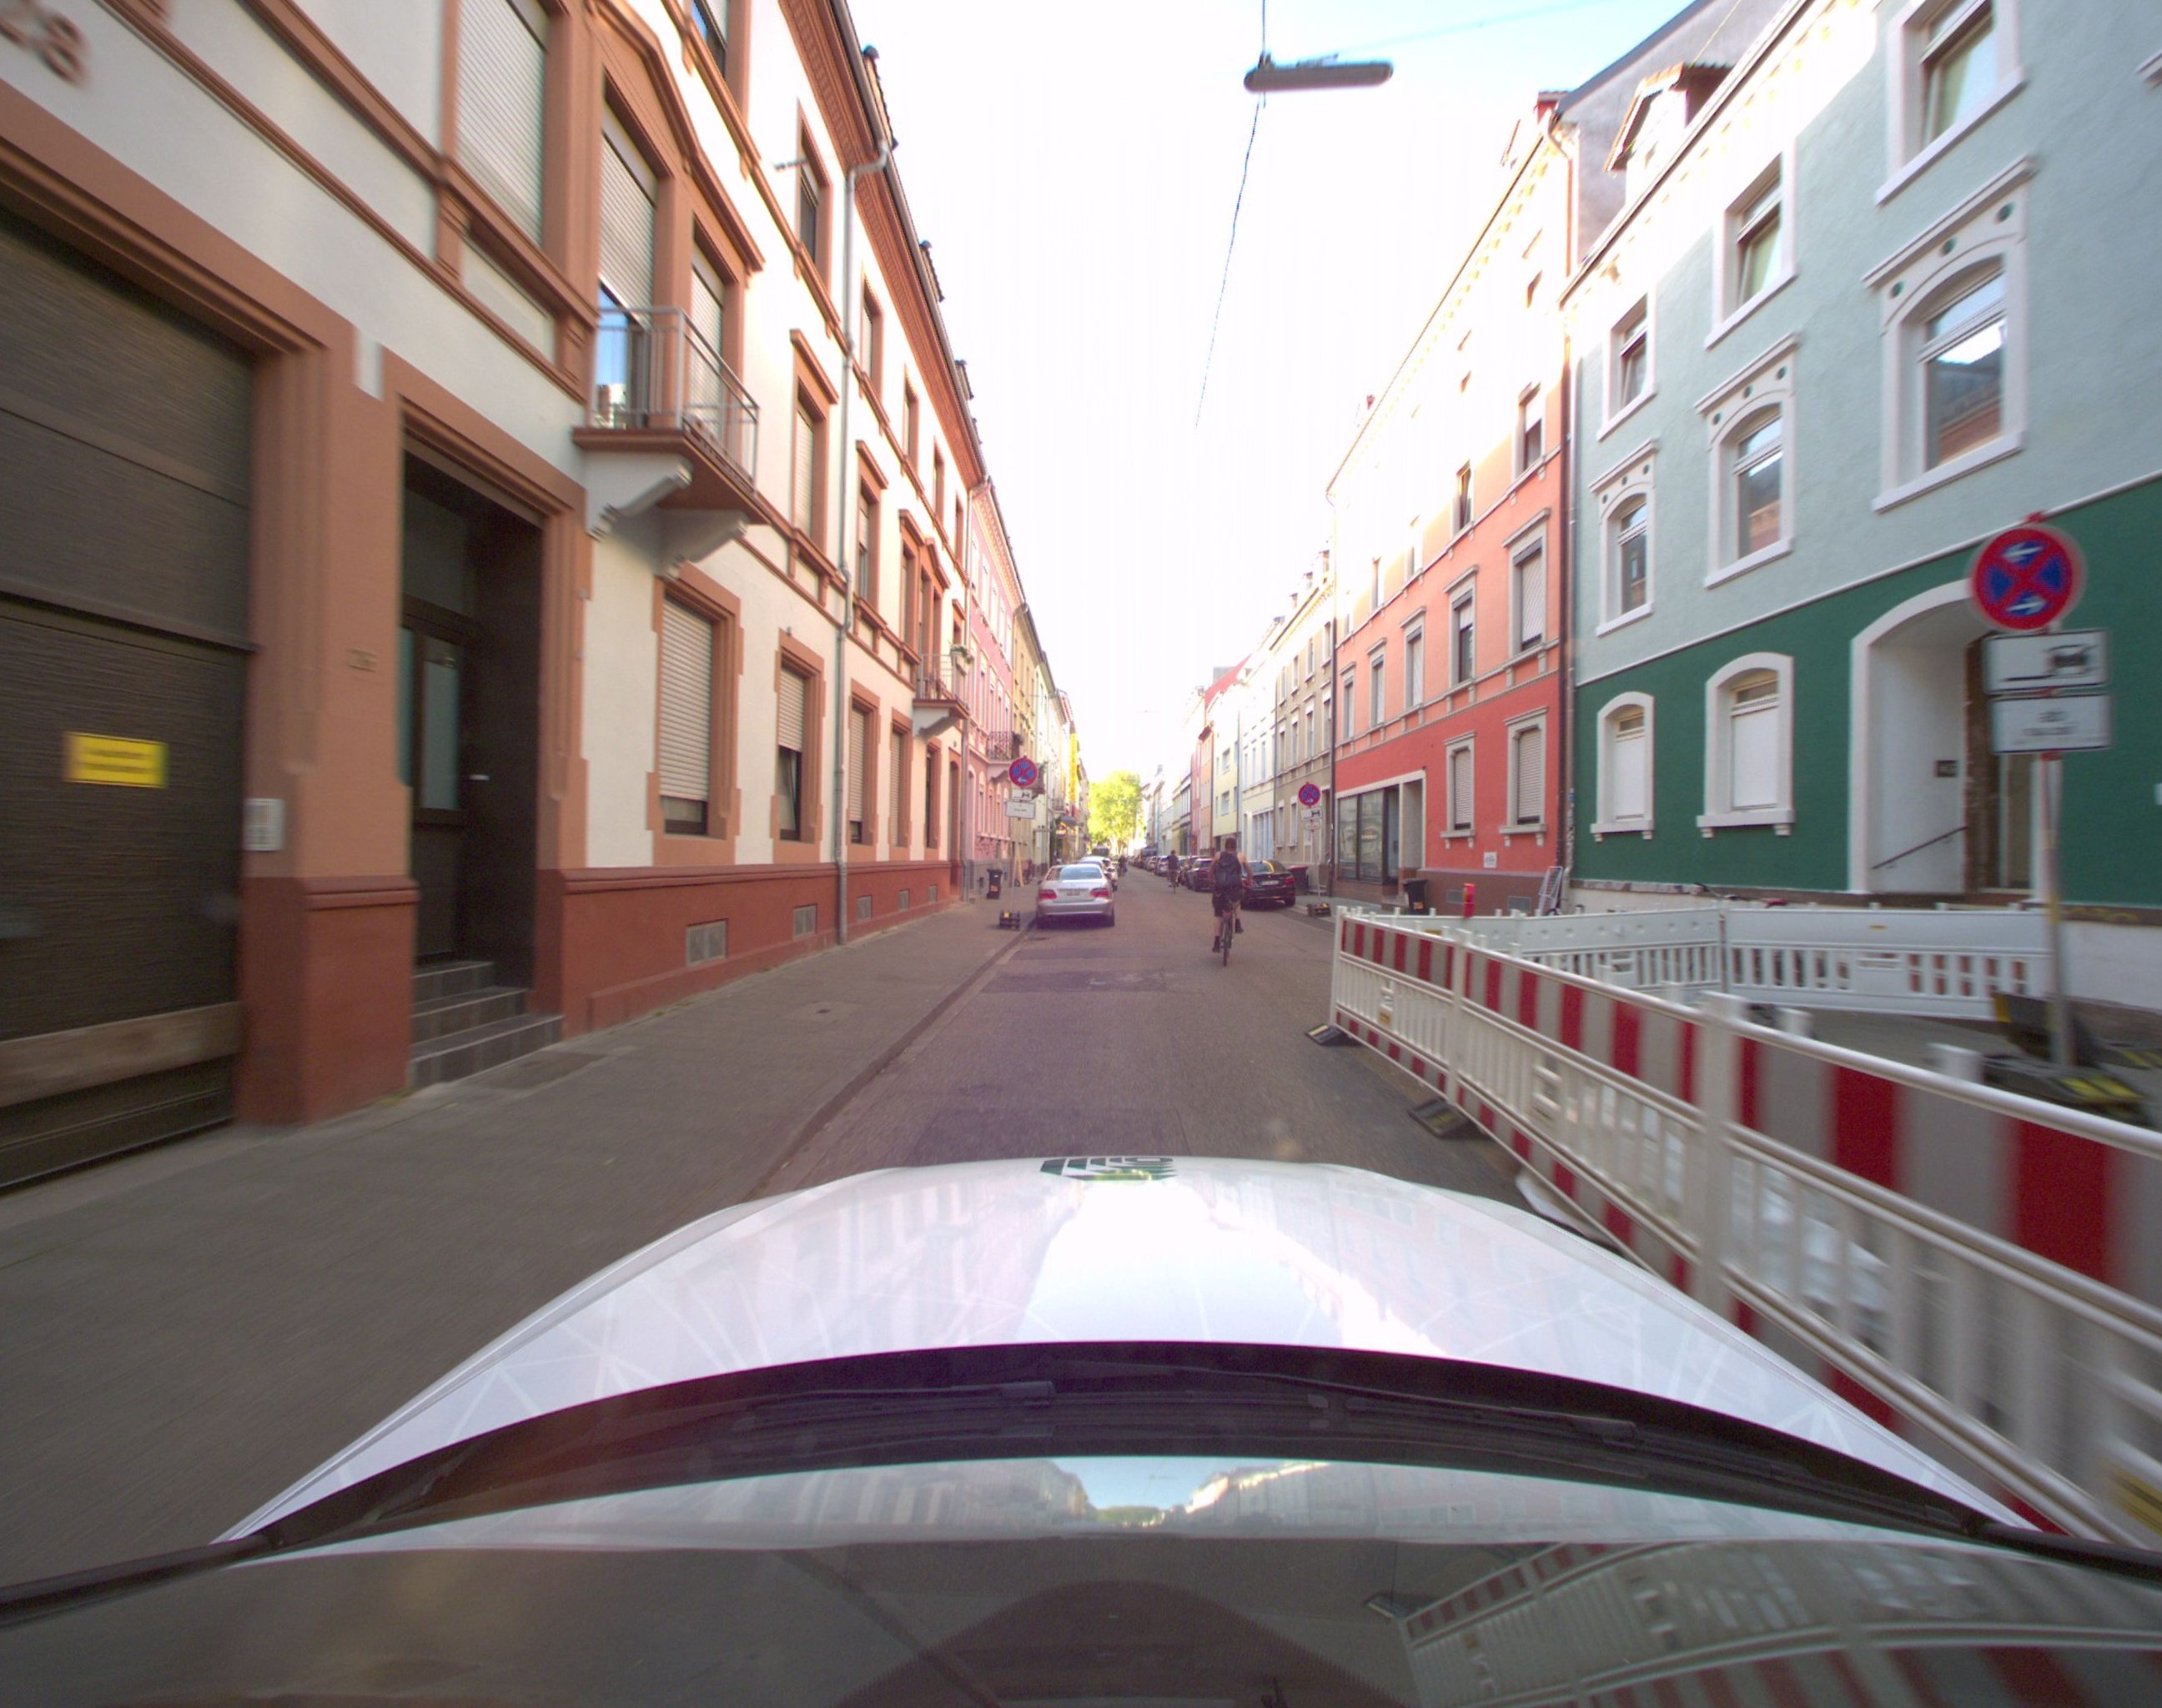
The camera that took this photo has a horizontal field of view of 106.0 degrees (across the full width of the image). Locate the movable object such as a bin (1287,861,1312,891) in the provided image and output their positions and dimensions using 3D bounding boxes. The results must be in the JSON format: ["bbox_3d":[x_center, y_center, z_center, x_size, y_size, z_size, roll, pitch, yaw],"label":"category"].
[{"bbox_3d":[8.301,0.834,31.001,0.803,1.075,0.679,-2,-1,6],"label":"movable object such as a bin"}]

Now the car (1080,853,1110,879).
[{"bbox_3d":[0.850,0.675,47.790,1.666,1.442,3.755,-1,0,2],"label":"car"}]

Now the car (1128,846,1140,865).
[{"bbox_3d":[10.891,0.327,167.932,2.299,3.768,6.772,-1,-1,2],"label":"car"}]

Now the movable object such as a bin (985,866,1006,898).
[{"bbox_3d":[-2.622,0.841,24.908,0.541,0.945,0.487,2,-1,2],"label":"movable object such as a bin"}]

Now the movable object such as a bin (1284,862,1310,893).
[{"bbox_3d":[7.928,0.860,29.909,0.735,1.075,0.676,-2,-1,-5],"label":"movable object such as a bin"}]

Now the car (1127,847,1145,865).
[{"bbox_3d":[8.073,0.356,120.582,2.299,2.538,6.772,-1,0,2],"label":"car"}]

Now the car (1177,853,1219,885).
[{"bbox_3d":[6.082,0.785,42.761,1.704,1.556,4.001,-1,0,2],"label":"car"}]

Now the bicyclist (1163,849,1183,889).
[{"bbox_3d":[3.811,0.607,33.771,0.699,1.605,0.813,1,1,1],"label":"bicyclist"}]

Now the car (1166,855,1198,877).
[{"bbox_3d":[6.530,0.759,53.104,1.704,1.383,4.001,-1,0,2],"label":"car"}]

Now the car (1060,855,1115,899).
[{"bbox_3d":[0.309,0.777,29.493,1.703,1.383,4.361,1,1,4],"label":"car"}]

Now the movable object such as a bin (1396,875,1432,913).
[{"bbox_3d":[8.084,0.965,19.770,0.595,0.906,0.579,-2,-1,0],"label":"movable object such as a bin"}]

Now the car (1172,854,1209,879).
[{"bbox_3d":[6.348,0.721,47.653,1.704,1.383,4.001,-1,0,2],"label":"car"}]

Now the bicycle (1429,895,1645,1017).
[{"bbox_3d":[4.564,1.011,8.205,1.846,1.110,0.642,2,-1,-6],"label":"bicycle"}]

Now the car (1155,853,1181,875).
[{"bbox_3d":[6.664,0.756,62.645,1.614,1.550,4.001,-1,0,2],"label":"car"}]

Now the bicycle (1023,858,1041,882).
[{"bbox_3d":[-2.252,0.737,37.906,0.590,1.089,2.080,2,0,2],"label":"bicycle"}]

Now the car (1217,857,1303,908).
[{"bbox_3d":[5.614,0.841,26.154,1.810,1.438,4.792,-1,0,2],"label":"car"}]

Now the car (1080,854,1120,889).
[{"bbox_3d":[0.868,0.747,36.458,1.666,1.442,4.167,-1,0,2],"label":"car"}]

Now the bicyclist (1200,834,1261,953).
[{"bbox_3d":[2.140,0.543,11.773,0.699,1.633,1.090,1,0,2],"label":"bicyclist"}]

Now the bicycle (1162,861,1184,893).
[{"bbox_3d":[3.823,0.928,33.888,0.699,1.208,2.343,1,1,1],"label":"bicycle"}]

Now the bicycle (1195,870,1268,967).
[{"bbox_3d":[2.147,0.873,11.897,0.699,1.208,2.343,1,0,2],"label":"bicycle"}]

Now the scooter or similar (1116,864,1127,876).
[{"bbox_3d":[2.919,1.143,58.838,0.768,0.873,0.771,2,-1,1],"label":"scooter or similar"}]

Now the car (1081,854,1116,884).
[{"bbox_3d":[0.920,0.762,42.086,1.666,1.442,3.769,-1,0,2],"label":"car"}]

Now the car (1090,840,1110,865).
[{"bbox_3d":[1.952,-0.189,83.849,1.903,2.497,4.164,0,0,0],"label":"car"}]

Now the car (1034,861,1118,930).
[{"bbox_3d":[-0.038,0.877,19.158,1.704,1.383,4.507,-1,0,2],"label":"car"}]

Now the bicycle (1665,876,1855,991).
[{"bbox_3d":[7.803,0.860,9.490,0.652,1.128,1.835,-3,-1,2],"label":"bicycle"}]

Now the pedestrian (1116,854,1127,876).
[{"bbox_3d":[2.938,0.803,59.161,0.768,1.578,0.900,2,-1,1],"label":"pedestrian"}]

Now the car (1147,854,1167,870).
[{"bbox_3d":[7.366,0.770,79.366,1.704,1.447,4.001,-1,0,2],"label":"car"}]

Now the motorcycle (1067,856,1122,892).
[{"bbox_3d":[0.560,0.821,33.667,2.151,1.359,0.537,-2,1,-17],"label":"motorcycle"}]

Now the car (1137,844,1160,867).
[{"bbox_3d":[7.853,0.143,95.125,2.299,2.538,6.772,-1,0,2],"label":"car"}]

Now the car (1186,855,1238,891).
[{"bbox_3d":[5.876,0.819,36.938,1.810,1.521,4.001,-1,0,2],"label":"car"}]

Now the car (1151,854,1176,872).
[{"bbox_3d":[6.853,0.756,67.829,1.704,1.393,4.001,-1,0,2],"label":"car"}]
